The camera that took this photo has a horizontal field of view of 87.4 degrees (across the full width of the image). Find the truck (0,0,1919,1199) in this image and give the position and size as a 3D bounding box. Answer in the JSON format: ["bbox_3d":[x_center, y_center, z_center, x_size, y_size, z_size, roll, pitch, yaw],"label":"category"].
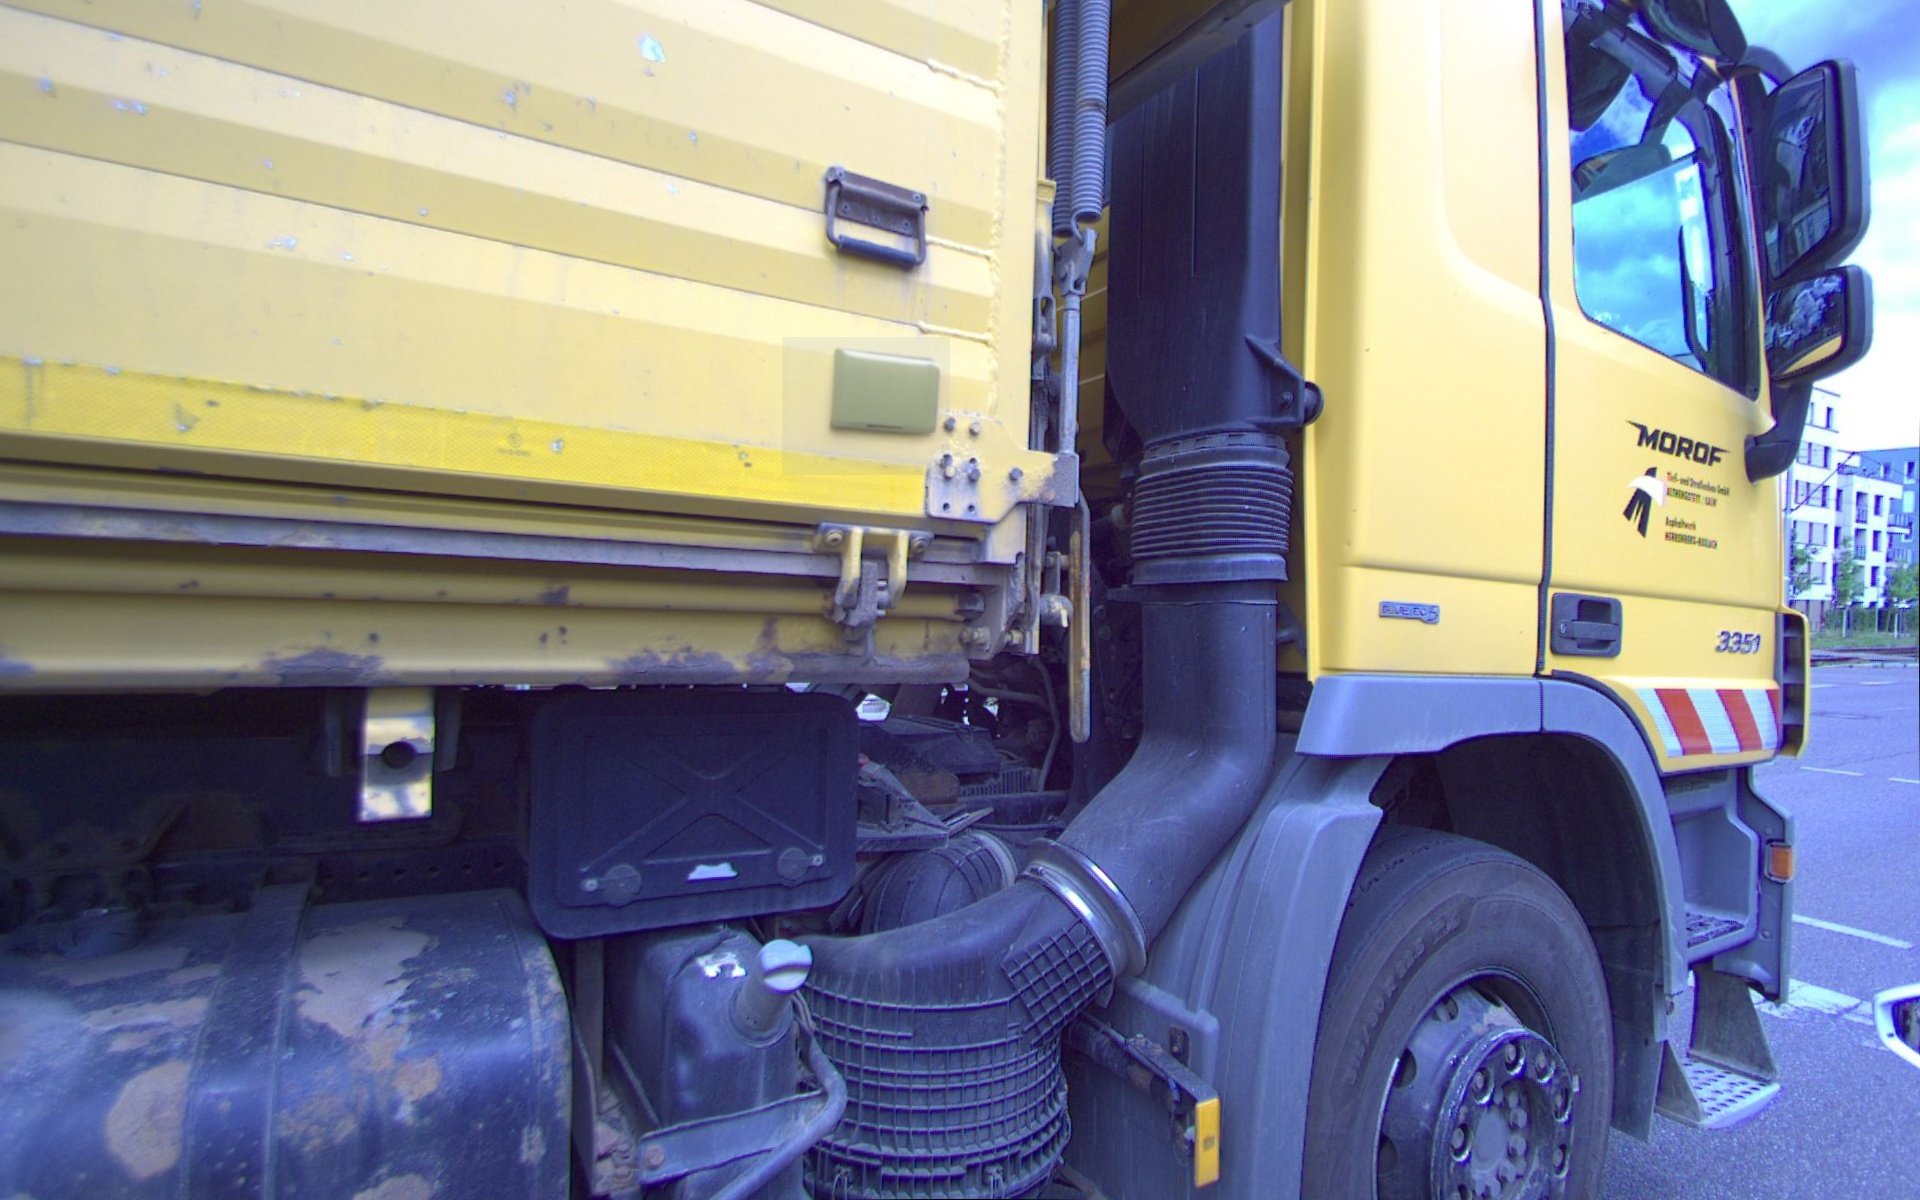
[{"bbox_3d":[-1.536,-0.026,1.568,7.688,3.043,2.707,2,0,-30],"label":"truck"}]
